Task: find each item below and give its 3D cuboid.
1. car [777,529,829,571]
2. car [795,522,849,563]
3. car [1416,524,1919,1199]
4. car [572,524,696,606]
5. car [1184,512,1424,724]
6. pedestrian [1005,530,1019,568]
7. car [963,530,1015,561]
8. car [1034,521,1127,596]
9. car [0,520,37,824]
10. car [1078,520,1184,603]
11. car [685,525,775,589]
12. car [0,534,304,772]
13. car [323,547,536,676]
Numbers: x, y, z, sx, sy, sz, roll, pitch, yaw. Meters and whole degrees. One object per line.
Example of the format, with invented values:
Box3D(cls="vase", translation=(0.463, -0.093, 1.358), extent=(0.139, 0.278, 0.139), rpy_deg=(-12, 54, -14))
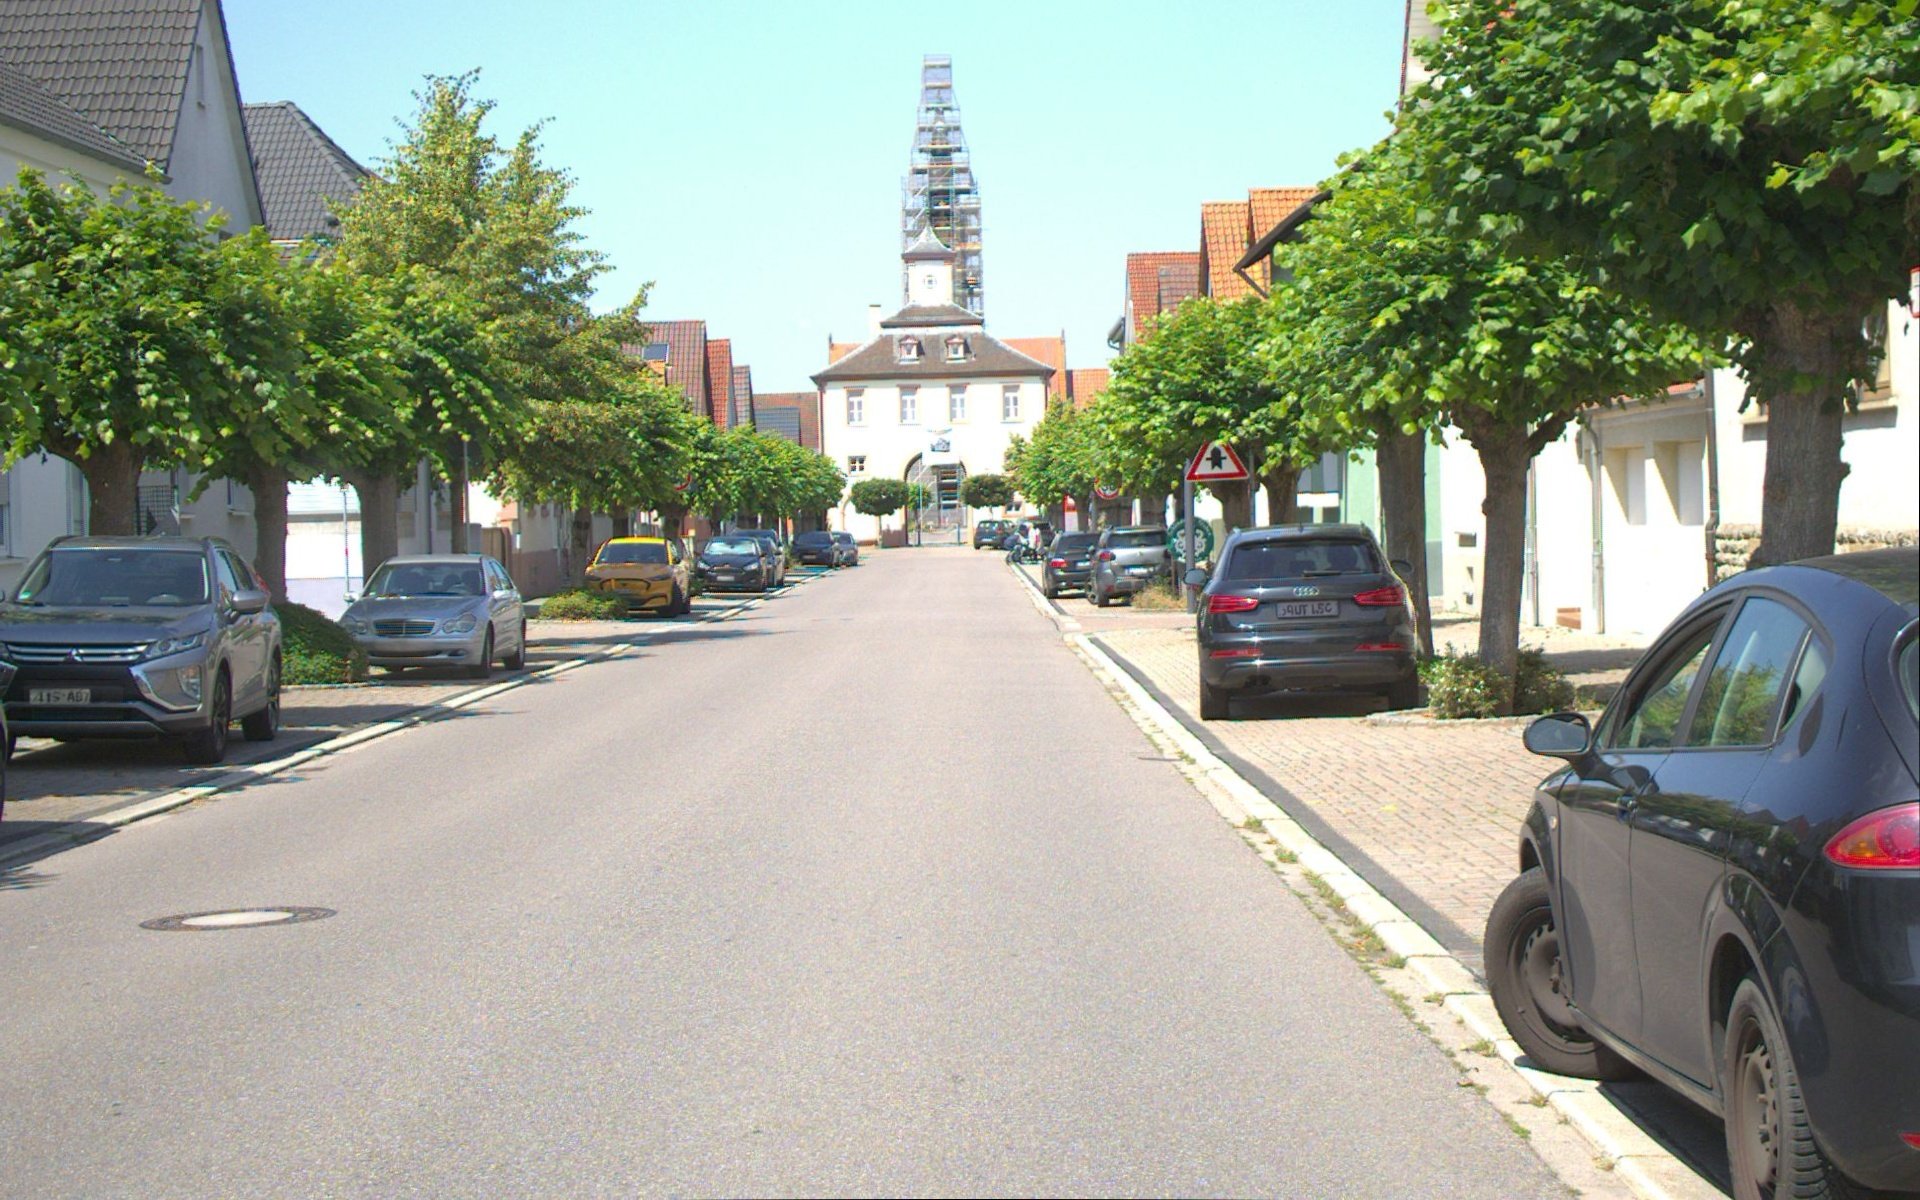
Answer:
Box3D(cls="car", translation=(-6.130, -1.967, 134.694), extent=(1.757, 1.550, 4.020), rpy_deg=(-1, 1, 1))
Box3D(cls="car", translation=(-5.619, -2.340, 140.427), extent=(1.993, 1.606, 3.855), rpy_deg=(0, 1, 1))
Box3D(cls="car", translation=(2.312, 0.573, 8.236), extent=(1.824, 1.427, 4.057), rpy_deg=(-3, 1, 0))
Box3D(cls="car", translation=(-6.598, -0.738, 69.947), extent=(1.993, 1.606, 4.689), rpy_deg=(0, 1, 1))
Box3D(cls="car", translation=(2.868, 0.095, 29.324), extent=(1.824, 1.580, 4.056), rpy_deg=(-3, 2, 4))
Box3D(cls="pedestrian", translation=(1.927, -1.897, 126.948), extent=(0.358, 1.398, 0.319), rpy_deg=(-1, 1, 38))
Box3D(cls="car", translation=(1.489, -2.776, 174.834), extent=(1.731, 1.542, 3.453), rpy_deg=(1, 1, 16))
Box3D(cls="car", translation=(2.682, -0.949, 77.462), extent=(1.837, 1.550, 4.314), rpy_deg=(-3, 1, 0))
Box3D(cls="car", translation=(-6.066, 0.397, 17.092), extent=(1.853, 1.629, 4.057), rpy_deg=(1, 1, 0))
Box3D(cls="car", translation=(3.446, -0.809, 69.866), extent=(1.837, 1.602, 4.000), rpy_deg=(-1, 1, -1))
Box3D(cls="car", translation=(-6.100, -1.179, 91.607), extent=(1.993, 1.606, 4.689), rpy_deg=(0, 2, 1))
Box3D(cls="car", translation=(-6.267, 0.327, 26.041), extent=(1.993, 1.647, 4.368), rpy_deg=(0, 1, -3))
Box3D(cls="car", translation=(-6.176, 0.096, 40.438), extent=(1.840, 1.391, 4.407), rpy_deg=(0, 1, 0))
